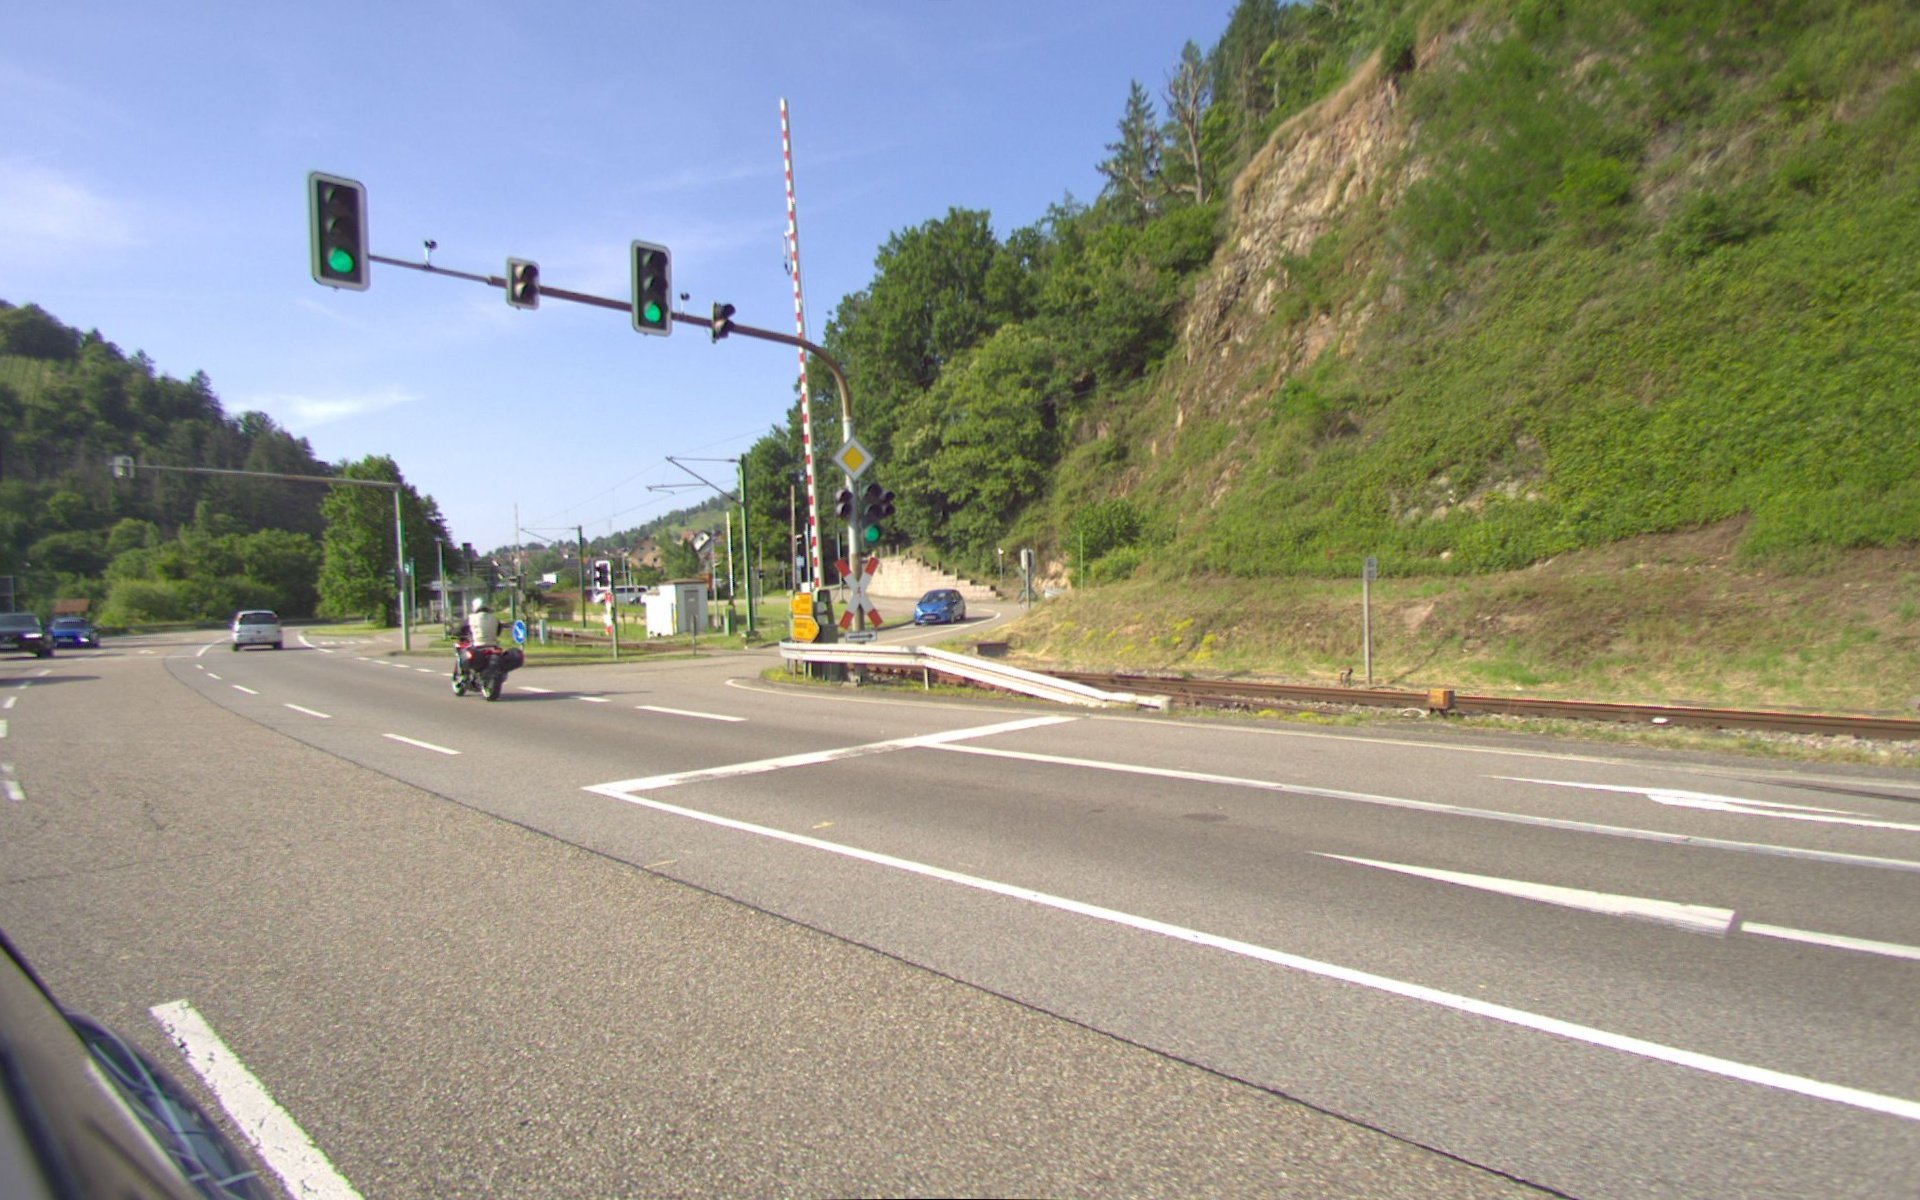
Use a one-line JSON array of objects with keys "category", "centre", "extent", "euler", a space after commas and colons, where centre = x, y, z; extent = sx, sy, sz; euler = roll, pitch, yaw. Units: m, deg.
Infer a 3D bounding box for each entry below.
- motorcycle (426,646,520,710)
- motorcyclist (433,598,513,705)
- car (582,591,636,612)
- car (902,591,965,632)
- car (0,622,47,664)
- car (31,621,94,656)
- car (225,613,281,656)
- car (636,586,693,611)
[{"category": "motorcycle", "centre": [-8.281, 1.290, 17.164], "extent": [0.814, 0.961, 2.220], "euler": [0, -1, -43]}, {"category": "motorcyclist", "centre": [-8.238, 0.850, 17.120], "extent": [0.994, 1.728, 0.866], "euler": [0, -2, -43]}, {"category": "car", "centre": [-32.143, 0.114, 92.722], "extent": [4.376, 1.817, 2.006], "euler": [-1, -1, -27]}, {"category": "car", "centre": [-1.091, 0.456, 44.390], "extent": [1.875, 1.519, 3.986], "euler": [-1, 3, 12]}, {"category": "car", "centre": [-34.186, 1.548, 36.191], "extent": [1.968, 1.403, 4.008], "euler": [-1, -1, -38]}, {"category": "car", "centre": [-41.609, 1.761, 46.986], "extent": [1.839, 1.503, 4.008], "euler": [-1, -1, -37]}, {"category": "car", "centre": [-29.552, 1.415, 42.230], "extent": [1.671, 1.669, 4.179], "euler": [-1, -1, -38]}, {"category": "car", "centre": [-22.721, -0.116, 77.756], "extent": [3.931, 1.763, 1.646], "euler": [-1, -1, -27]}]
